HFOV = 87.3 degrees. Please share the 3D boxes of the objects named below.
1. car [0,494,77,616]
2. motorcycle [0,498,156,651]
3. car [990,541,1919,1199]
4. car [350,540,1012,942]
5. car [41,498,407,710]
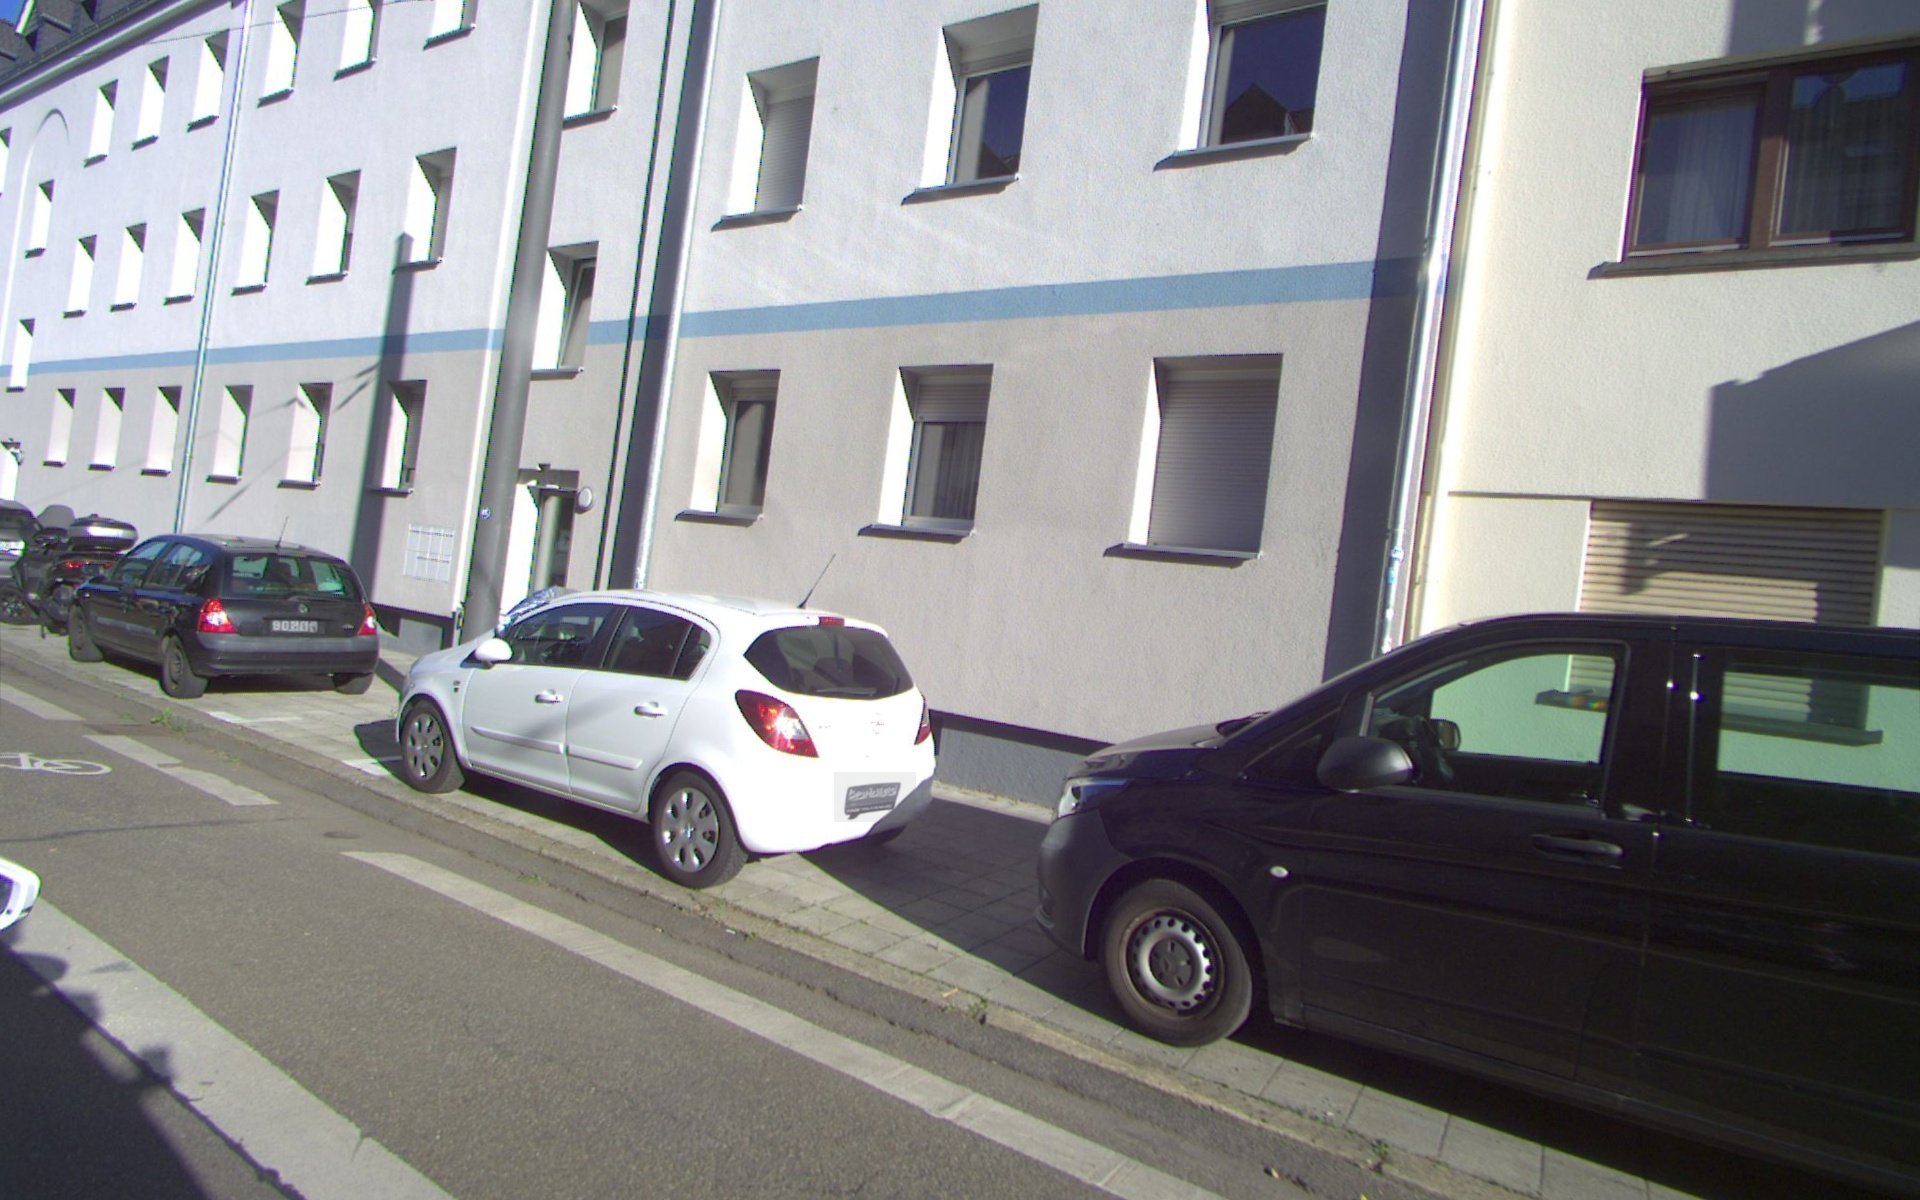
[{"bbox_3d":[-14.711,-0.832,14.486,4.296,1.574,1.865,7,0,34],"label":"car"},{"bbox_3d":[-10.524,-0.338,11.776,2.663,1.541,0.806,7,2,31],"label":"motorcycle"},{"bbox_3d":[2.790,1.022,3.681,4.923,1.945,1.930,7,0,33],"label":"car"},{"bbox_3d":[-1.852,0.646,6.367,3.839,1.590,1.802,7,0,32],"label":"car"},{"bbox_3d":[-7.383,-0.017,9.991,3.841,1.590,1.610,7,0,34],"label":"car"}]
